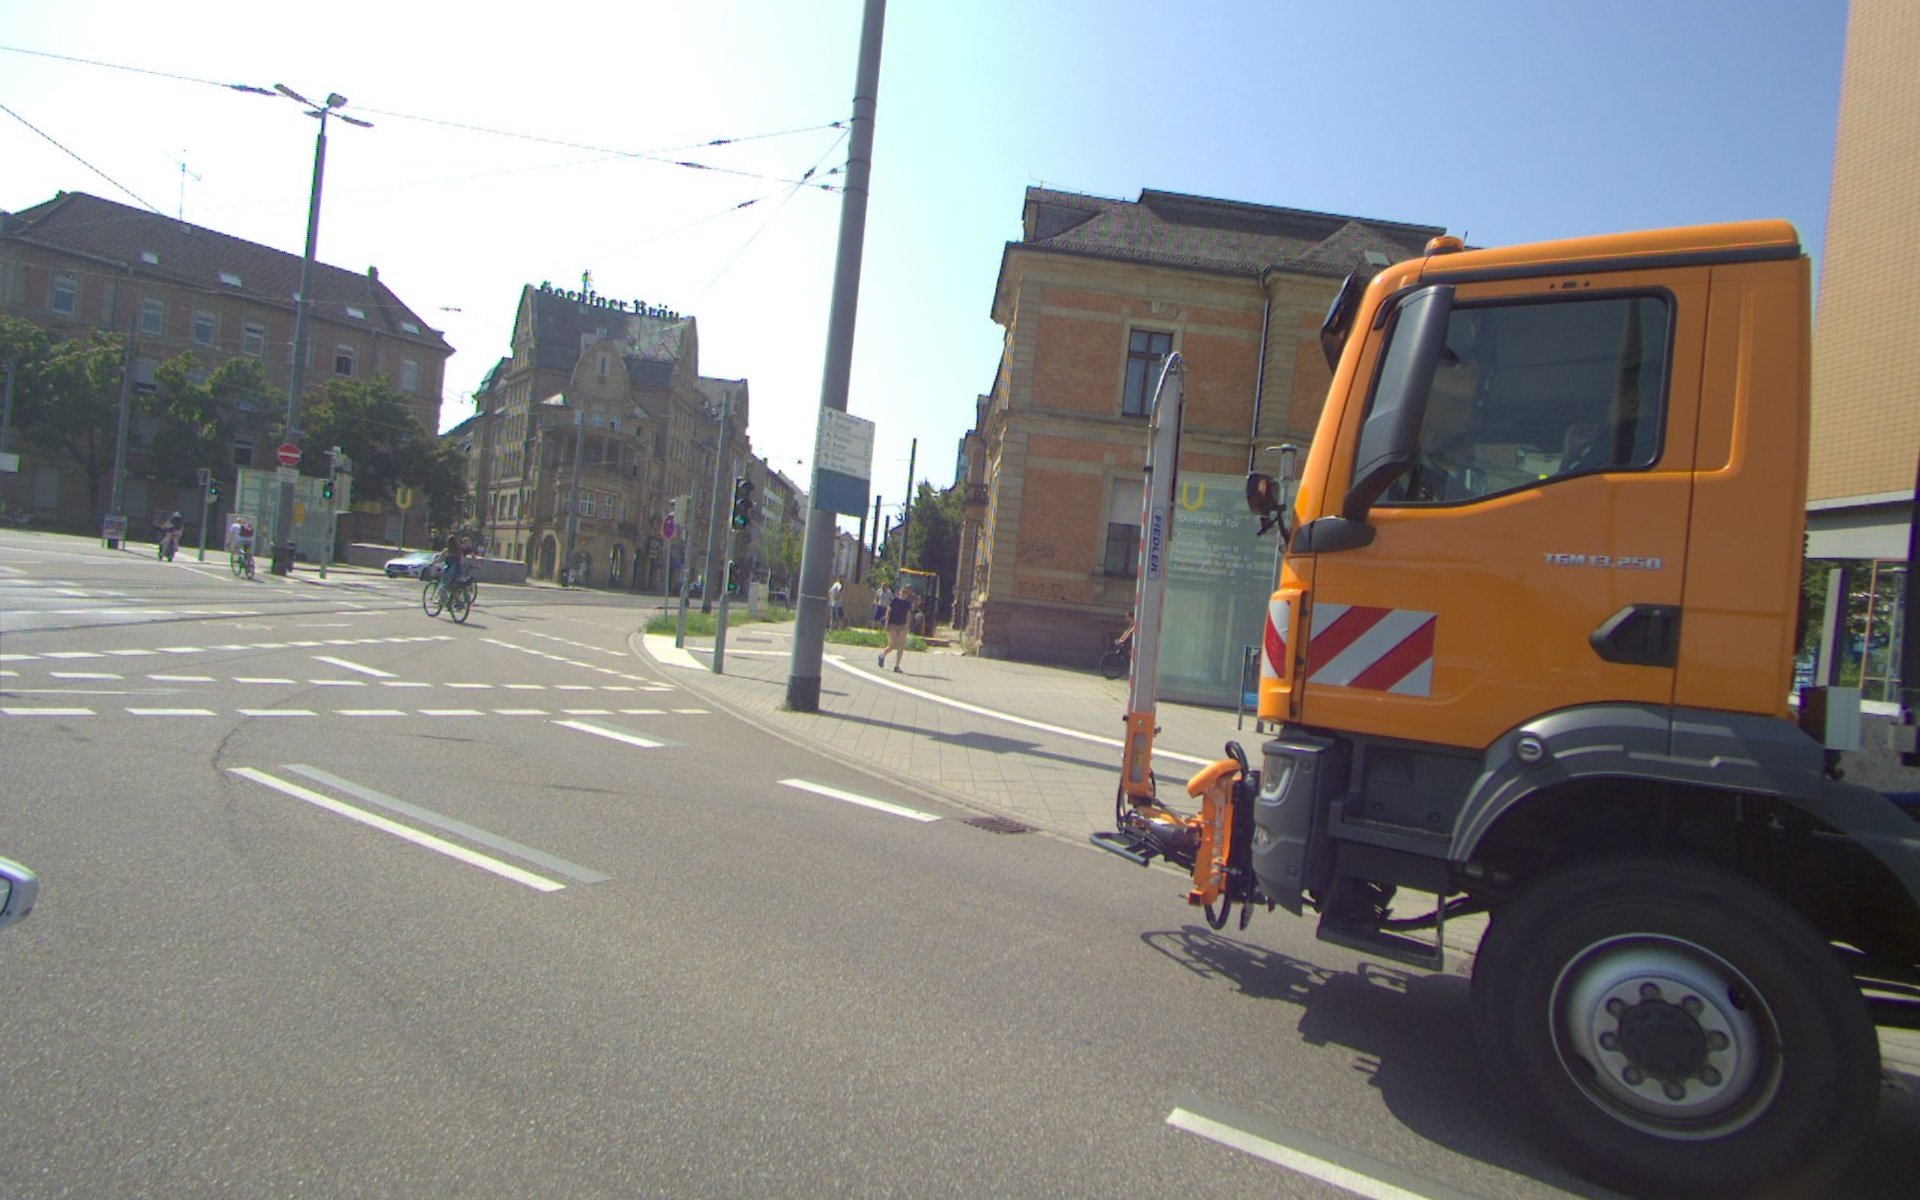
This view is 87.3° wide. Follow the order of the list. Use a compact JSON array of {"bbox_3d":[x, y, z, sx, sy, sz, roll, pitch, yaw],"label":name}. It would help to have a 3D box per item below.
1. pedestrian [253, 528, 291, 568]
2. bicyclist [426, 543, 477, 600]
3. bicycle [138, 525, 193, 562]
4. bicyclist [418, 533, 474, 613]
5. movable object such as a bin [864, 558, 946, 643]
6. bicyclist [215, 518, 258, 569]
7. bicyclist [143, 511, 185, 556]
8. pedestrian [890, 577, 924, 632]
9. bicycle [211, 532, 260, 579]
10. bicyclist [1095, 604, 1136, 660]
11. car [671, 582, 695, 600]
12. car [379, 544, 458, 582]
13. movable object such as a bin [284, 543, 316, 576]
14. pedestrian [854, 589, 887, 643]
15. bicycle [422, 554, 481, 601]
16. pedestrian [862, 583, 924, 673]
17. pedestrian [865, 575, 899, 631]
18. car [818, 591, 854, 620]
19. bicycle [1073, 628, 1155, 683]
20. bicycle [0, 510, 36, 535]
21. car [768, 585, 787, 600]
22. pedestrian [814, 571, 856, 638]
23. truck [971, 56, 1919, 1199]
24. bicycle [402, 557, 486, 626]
[{"bbox_3d":[-25.330,-1.909,37.055,0.801,1.368,0.719,6,1,18],"label":"pedestrian"},{"bbox_3d":[-14.093,-0.780,27.882,0.915,1.441,0.801,6,1,34],"label":"bicyclist"},{"bbox_3d":[-26.073,-1.871,32.988,2.337,1.011,0.644,6,0,33],"label":"bicycle"},{"bbox_3d":[-10.345,-0.541,20.248,0.634,1.500,0.656,6,1,33],"label":"bicyclist"},{"bbox_3d":[-1.916,0.071,36.613,1.783,2.705,4.458,6,0,10],"label":"movable object such as a bin"},{"bbox_3d":[-19.470,-1.522,27.082,0.634,1.269,0.656,6,1,33],"label":"bicyclist"},{"bbox_3d":[-26.146,-2.188,33.032,0.906,1.336,0.747,6,1,33],"label":"bicyclist"},{"bbox_3d":[-1.707,0.149,32.496,0.677,1.693,0.680,5,1,-33],"label":"pedestrian"},{"bbox_3d":[-19.537,-1.203,27.125,1.616,1.125,0.440,6,1,33],"label":"bicycle"},{"bbox_3d":[3.802,0.782,24.559,0.847,1.249,1.102,6,0,11],"label":"bicyclist"},{"bbox_3d":[-25.558,-0.804,92.779,1.350,1.414,3.257,6,-2,-4],"label":"car"},{"bbox_3d":[-25.321,-1.712,47.150,1.558,1.303,3.730,6,-2,0],"label":"car"},{"bbox_3d":[-24.198,-1.496,36.870,0.814,1.098,1.028,7,-2,-38],"label":"movable object such as a bin"},{"bbox_3d":[-2.999,0.535,33.670,0.677,1.693,0.680,5,1,-33],"label":"pedestrian"},{"bbox_3d":[-14.080,-0.627,27.834,1.925,1.140,0.470,6,1,33],"label":"bicycle"},{"bbox_3d":[-1.302,0.531,19.396,0.783,1.629,0.943,4,1,-27],"label":"pedestrian"},{"bbox_3d":[-2.517,0.094,32.376,0.677,1.693,0.680,5,1,-33],"label":"pedestrian"},{"bbox_3d":[-10.213,0.489,83.164,1.962,2.037,4.005,6,-2,5],"label":"car"},{"bbox_3d":[3.755,1.338,24.514,1.820,1.125,0.713,6,1,10],"label":"bicycle"},{"bbox_3d":[-43.669,-3.611,46.141,0.455,0.969,1.782,6,0,36],"label":"bicycle"},{"bbox_3d":[-27.499,-1.080,151.770,1.963,2.038,3.999,6,0,-1],"label":"car"},{"bbox_3d":[-3.618,0.120,29.055,0.677,1.836,1.030,5,1,-33],"label":"pedestrian"},{"bbox_3d":[4.020,0.347,3.634,7.068,3.267,3.039,7,-1,29],"label":"truck"},{"bbox_3d":[-10.459,-0.183,20.347,2.093,1.125,0.440,8,2,33],"label":"bicycle"}]
